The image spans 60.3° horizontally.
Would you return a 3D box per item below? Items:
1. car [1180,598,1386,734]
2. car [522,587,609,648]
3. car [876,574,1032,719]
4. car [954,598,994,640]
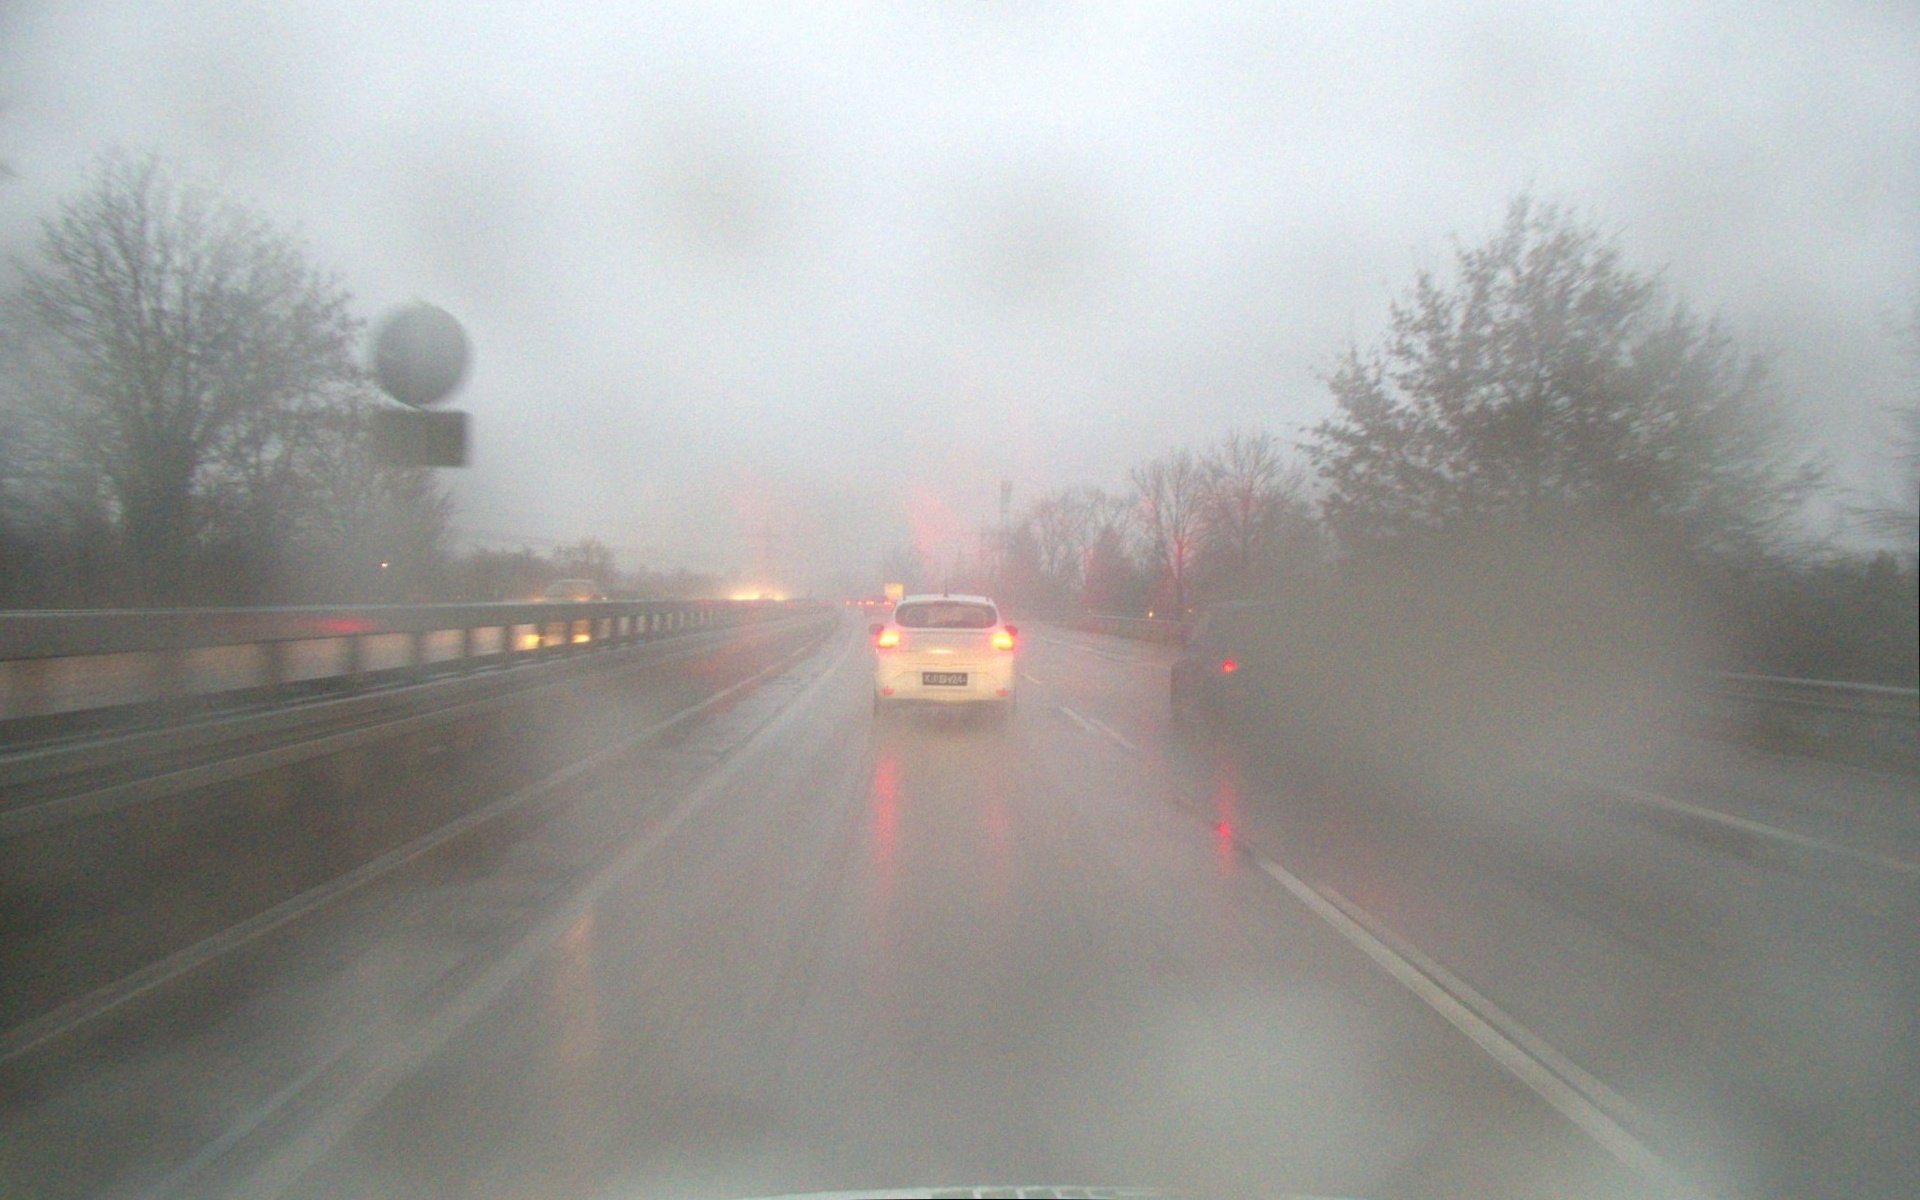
[{"bbox_3d":[3.913,0.740,20.688,1.807,1.479,4.149,1,0,1],"label":"car"},{"bbox_3d":[-12.647,0.594,53.299,1.709,1.865,4.135,1,-1,1],"label":"car"},{"bbox_3d":[-0.039,0.536,21.261,1.807,1.664,3.768,1,0,1],"label":"car"},{"bbox_3d":[0.699,1.008,86.183,1.836,1.936,3.999,6,-1,0],"label":"car"}]
